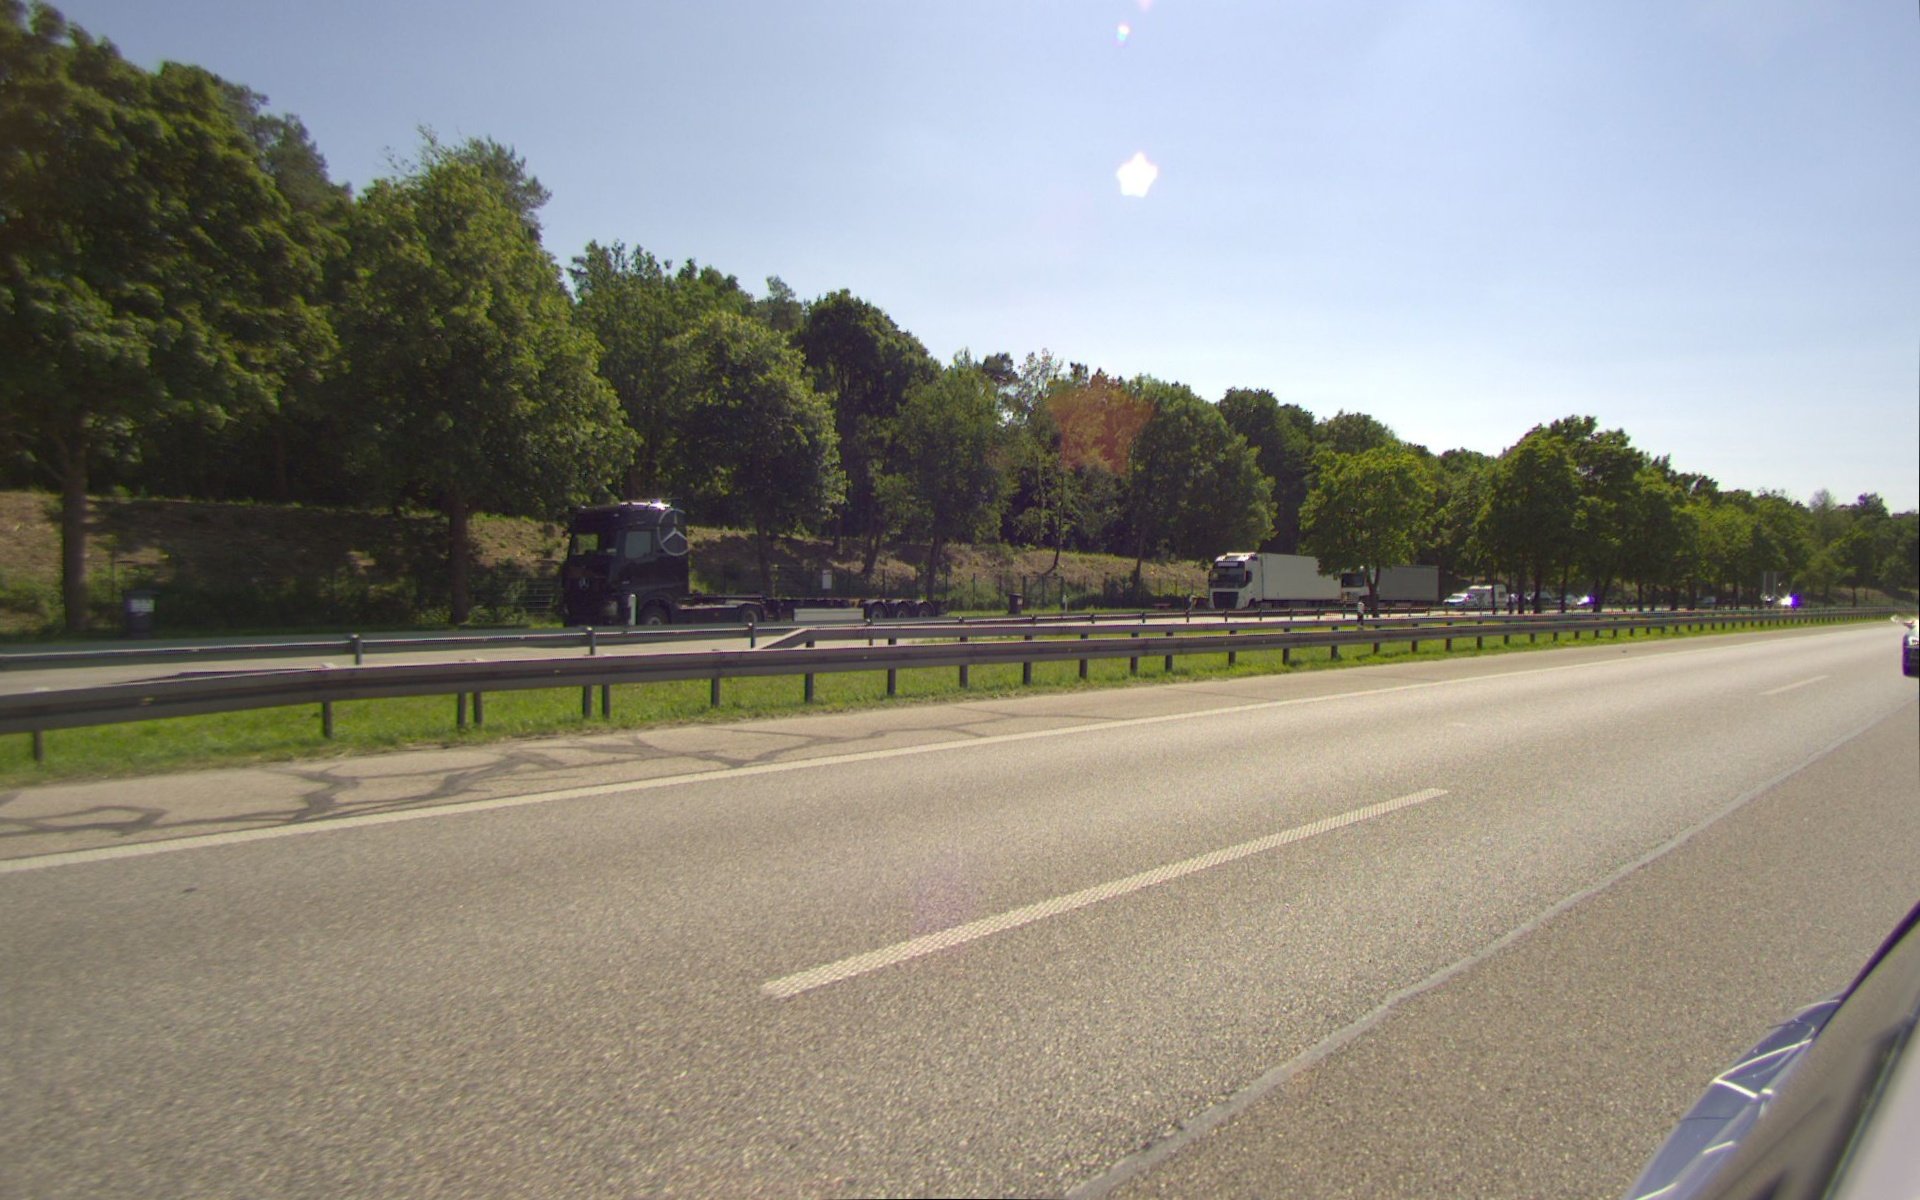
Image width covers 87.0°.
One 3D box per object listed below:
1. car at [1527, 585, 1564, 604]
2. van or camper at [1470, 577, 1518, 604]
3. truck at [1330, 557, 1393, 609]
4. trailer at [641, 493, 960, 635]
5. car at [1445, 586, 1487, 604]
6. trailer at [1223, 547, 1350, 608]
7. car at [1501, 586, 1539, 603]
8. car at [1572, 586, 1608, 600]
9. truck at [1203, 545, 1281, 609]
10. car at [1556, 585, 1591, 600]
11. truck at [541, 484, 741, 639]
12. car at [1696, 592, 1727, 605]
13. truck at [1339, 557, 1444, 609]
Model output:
[{"bbox_3d":[61.836,-0.602,106.914,4.710,1.900,1.661,0,1,-36],"label":"car"},{"bbox_3d":[52.332,-0.939,99.122,5.772,2.562,2.208,0,1,-41],"label":"van or camper"},{"bbox_3d":[31.681,-1.367,79.767,2.972,3.980,4.755,1,1,45],"label":"truck"},{"bbox_3d":[-4.709,-1.081,34.178,2.564,3.964,12.584,1,1,36],"label":"trailer"},{"bbox_3d":[47.554,-0.440,95.115,4.470,1.617,1.661,0,1,-36],"label":"car"},{"bbox_3d":[22.630,-1.466,69.398,2.856,3.844,13.974,1,1,42],"label":"trailer"},{"bbox_3d":[56.767,-0.525,102.561,4.412,1.662,1.661,0,1,-36],"label":"car"},{"bbox_3d":[72.950,-0.843,117.148,3.921,1.593,2.002,0,1,-32],"label":"car"},{"bbox_3d":[17.935,-1.430,64.150,2.807,3.844,5.067,1,1,42],"label":"truck"},{"bbox_3d":[68.890,-0.821,113.634,4.564,1.696,1.661,0,1,-36],"label":"car"},{"bbox_3d":[-8.850,-1.021,28.469,2.565,3.964,4.803,1,1,36],"label":"truck"},{"bbox_3d":[103.562,-0.206,139.463,4.232,1.671,2.002,1,1,-31],"label":"car"},{"bbox_3d":[36.175,-1.403,84.361,2.997,3.980,14.227,1,1,45],"label":"truck"}]
